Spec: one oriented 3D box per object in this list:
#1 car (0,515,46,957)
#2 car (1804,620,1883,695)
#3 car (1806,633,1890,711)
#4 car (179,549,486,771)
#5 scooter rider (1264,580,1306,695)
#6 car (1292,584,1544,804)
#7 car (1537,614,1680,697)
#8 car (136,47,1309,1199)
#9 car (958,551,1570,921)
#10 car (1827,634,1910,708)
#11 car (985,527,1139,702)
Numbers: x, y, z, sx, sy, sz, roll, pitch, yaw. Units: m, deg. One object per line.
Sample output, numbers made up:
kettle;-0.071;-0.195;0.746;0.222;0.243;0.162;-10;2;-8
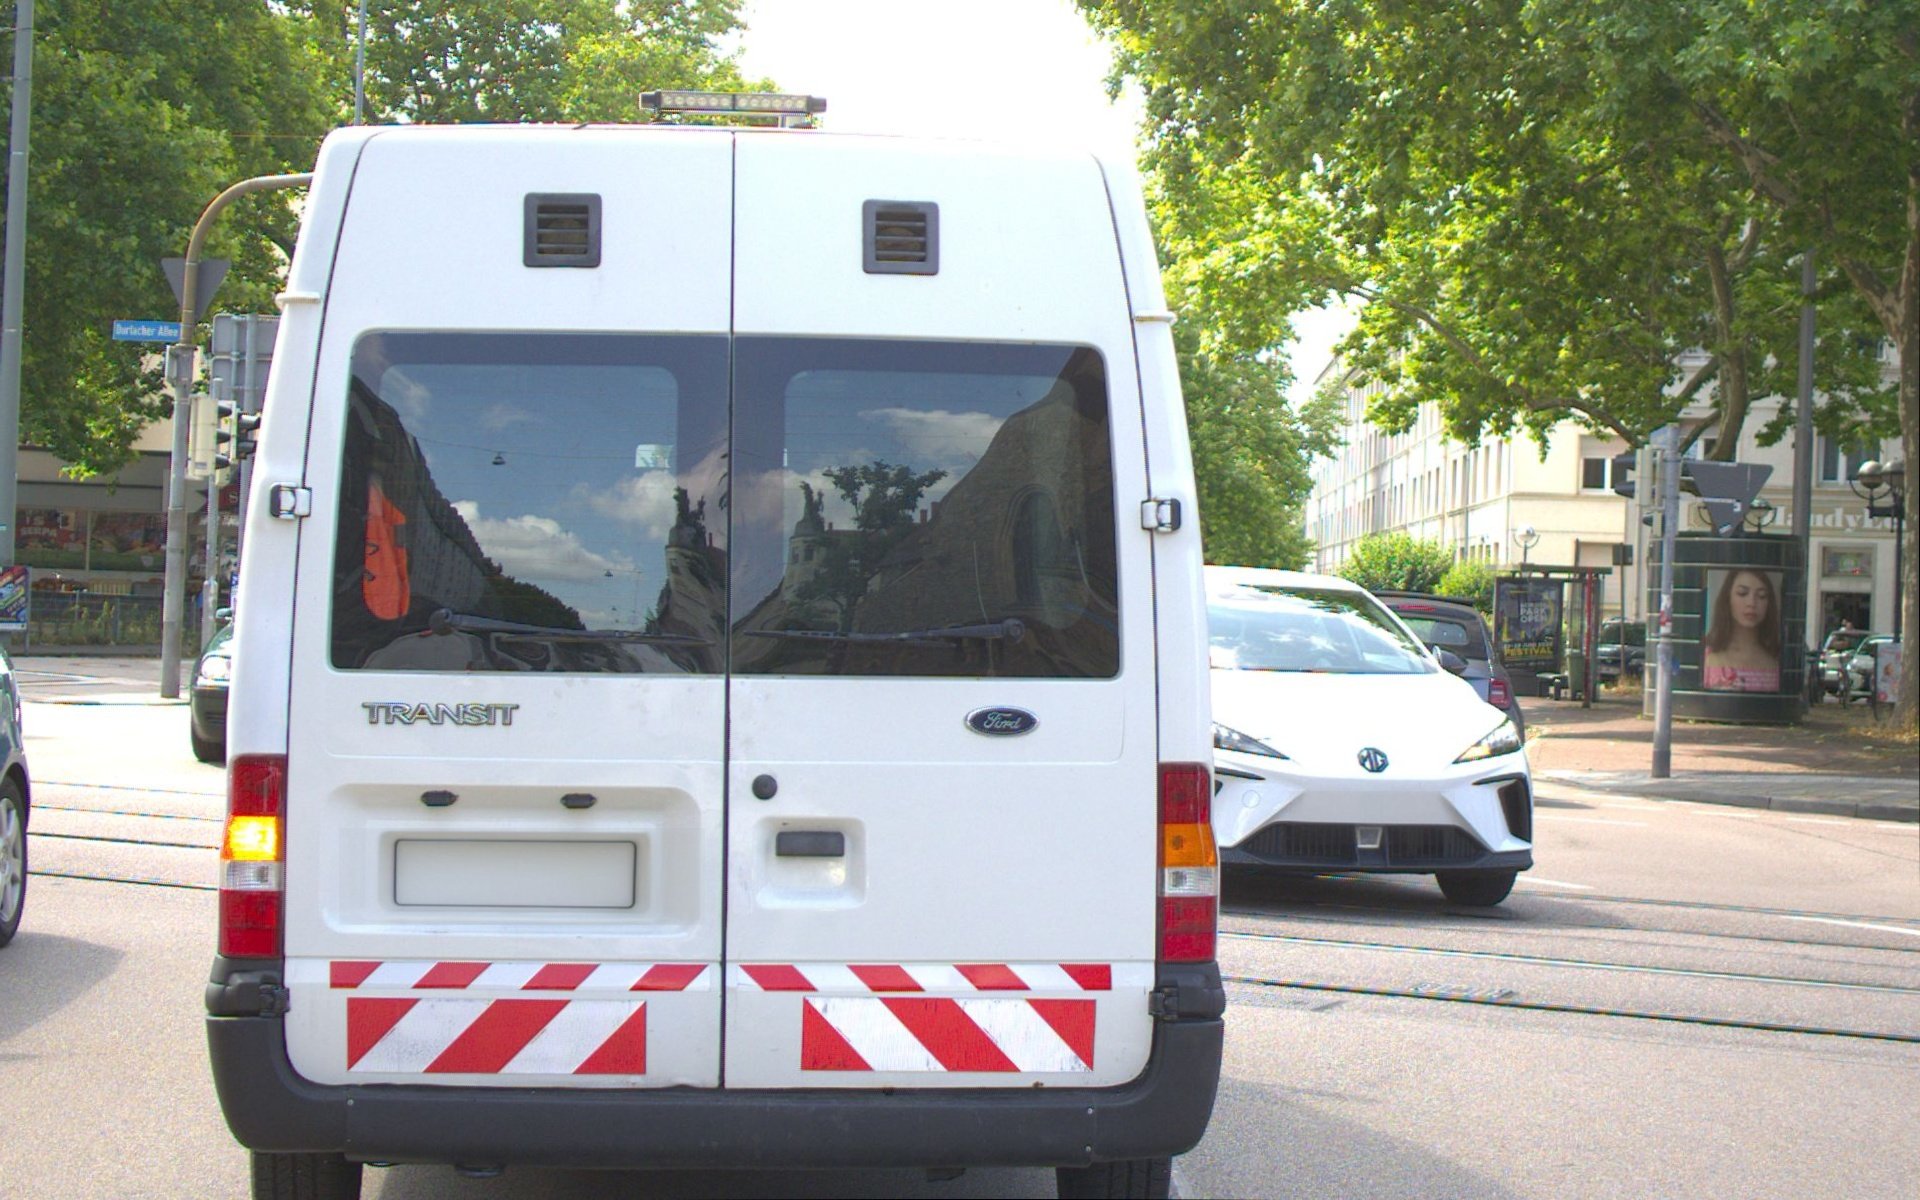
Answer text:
car;-4.136;0.477;10.596;1.747;1.535;3.932;1;1;-3
car;20.806;1.343;80.914;1.467;1.660;3.064;2;0;20
car;16.988;1.360;65.689;1.466;1.384;3.065;2;0;15
car;-4.359;0.363;24.362;1.713;1.428;3.819;1;1;-4
scooter rider;5.170;0.592;54.655;0.526;1.806;0.649;2;0;-1
car;3.547;0.685;27.106;1.692;1.532;3.468;2;1;4
car;13.590;1.153;71.834;2.030;1.595;4.533;2;0;22
car;-0.644;0.172;8.566;2.047;2.325;4.715;2;1;-5
car;1.285;0.550;16.420;1.814;1.501;4.132;2;0;-11
car;18.319;1.414;69.268;1.466;1.384;3.233;2;0;17
car;1.606;0.188;56.444;2.119;2.632;6.328;2;0;-1
